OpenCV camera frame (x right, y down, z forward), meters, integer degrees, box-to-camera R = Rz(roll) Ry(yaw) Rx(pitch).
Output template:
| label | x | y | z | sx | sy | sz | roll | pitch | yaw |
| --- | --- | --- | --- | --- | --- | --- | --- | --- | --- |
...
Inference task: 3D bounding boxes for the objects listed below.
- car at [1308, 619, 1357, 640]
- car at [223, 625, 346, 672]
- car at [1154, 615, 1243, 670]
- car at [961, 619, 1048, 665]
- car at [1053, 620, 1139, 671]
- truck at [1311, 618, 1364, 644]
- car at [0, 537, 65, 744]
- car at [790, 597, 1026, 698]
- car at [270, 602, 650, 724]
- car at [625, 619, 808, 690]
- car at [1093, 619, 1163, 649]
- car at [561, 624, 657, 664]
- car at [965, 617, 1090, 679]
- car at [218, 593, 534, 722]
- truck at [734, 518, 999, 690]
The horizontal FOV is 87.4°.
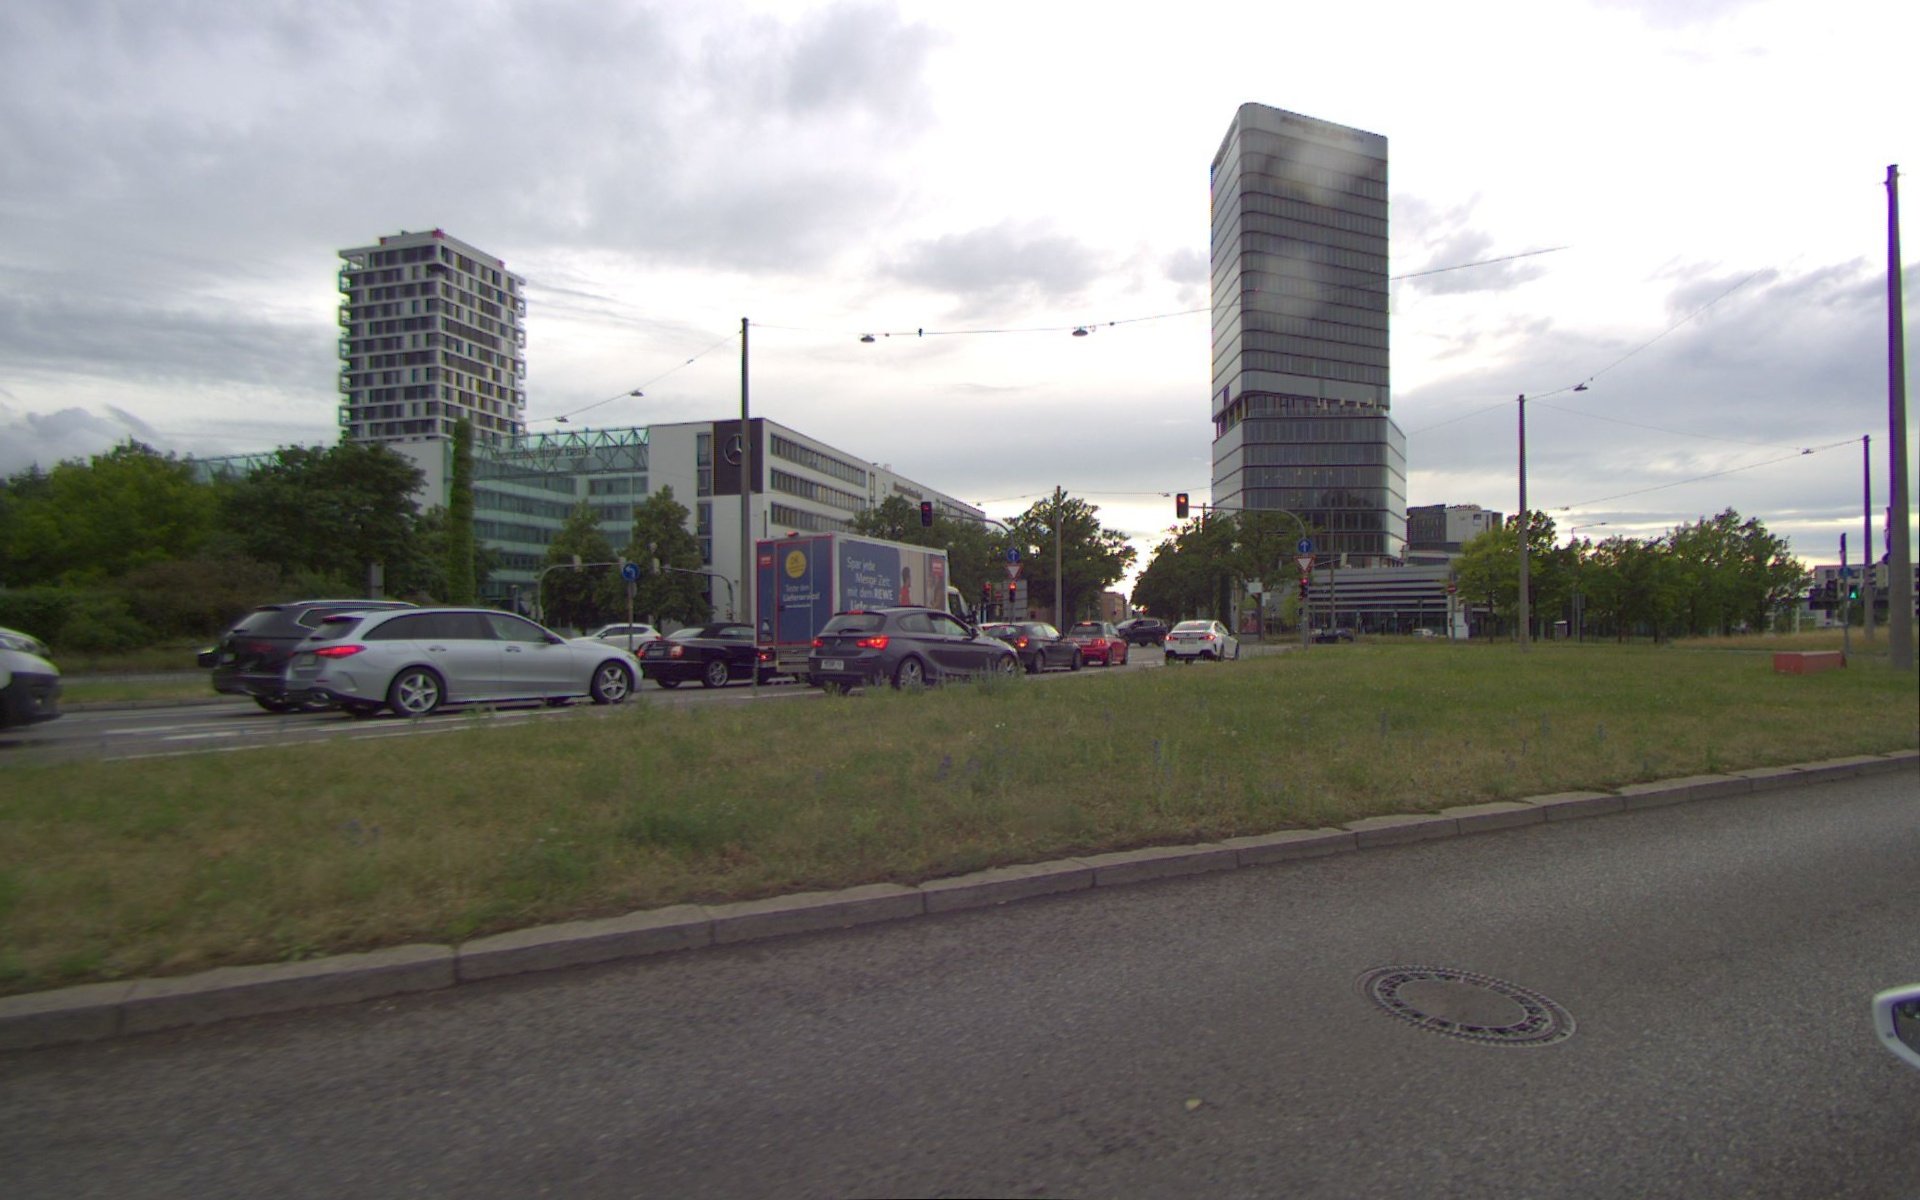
| label | x | y | z | sx | sy | sz | roll | pitch | yaw |
| --- | --- | --- | --- | --- | --- | --- | --- | --- | --- |
| car | 29.639 | 2.329 | 80.031 | 3.499 | 1.582 | 1.647 | 0 | 0 | 17 |
| car | -24.991 | 1.749 | 37.227 | 3.698 | 1.595 | 1.717 | 0 | -1 | -36 |
| car | 7.842 | 1.370 | 32.721 | 1.890 | 1.665 | 4.387 | 0 | -2 | 26 |
| car | 1.611 | 1.446 | 34.986 | 1.554 | 1.500 | 3.770 | -1 | -2 | 28 |
| car | 4.707 | 1.529 | 34.261 | 1.785 | 1.645 | 3.997 | -1 | -2 | 25 |
| truck | 31.302 | 2.557 | 83.423 | 3.919 | 2.040 | 2.001 | 0 | -1 | 14 |
| car | -11.323 | 0.402 | 8.764 | 1.882 | 1.999 | 5.067 | -3 | -2 | 40 |
| car | -0.754 | 0.712 | 16.945 | 1.846 | 1.481 | 3.960 | -1 | -1 | 38 |
| car | -6.897 | 0.812 | 14.290 | 1.816 | 1.454 | 4.501 | -3 | -2 | 39 |
| car | -5.296 | 1.133 | 22.283 | 1.729 | 1.391 | 3.858 | 0 | -1 | 31 |
| car | 9.825 | 1.977 | 58.793 | 3.685 | 1.640 | 1.738 | -1 | 1 | -22 |
| car | -15.390 | 1.878 | 44.029 | 3.696 | 1.620 | 1.855 | 0 | 0 | -32 |
| car | 1.999 | 1.303 | 28.647 | 1.965 | 1.587 | 3.992 | 0 | -1 | 31 |
| car | -9.272 | 0.796 | 16.236 | 1.815 | 1.704 | 4.053 | 3 | 3 | 39 |
| truck | -1.820 | 0.078 | 22.538 | 2.628 | 3.263 | 6.535 | 0 | 0 | 30 |
